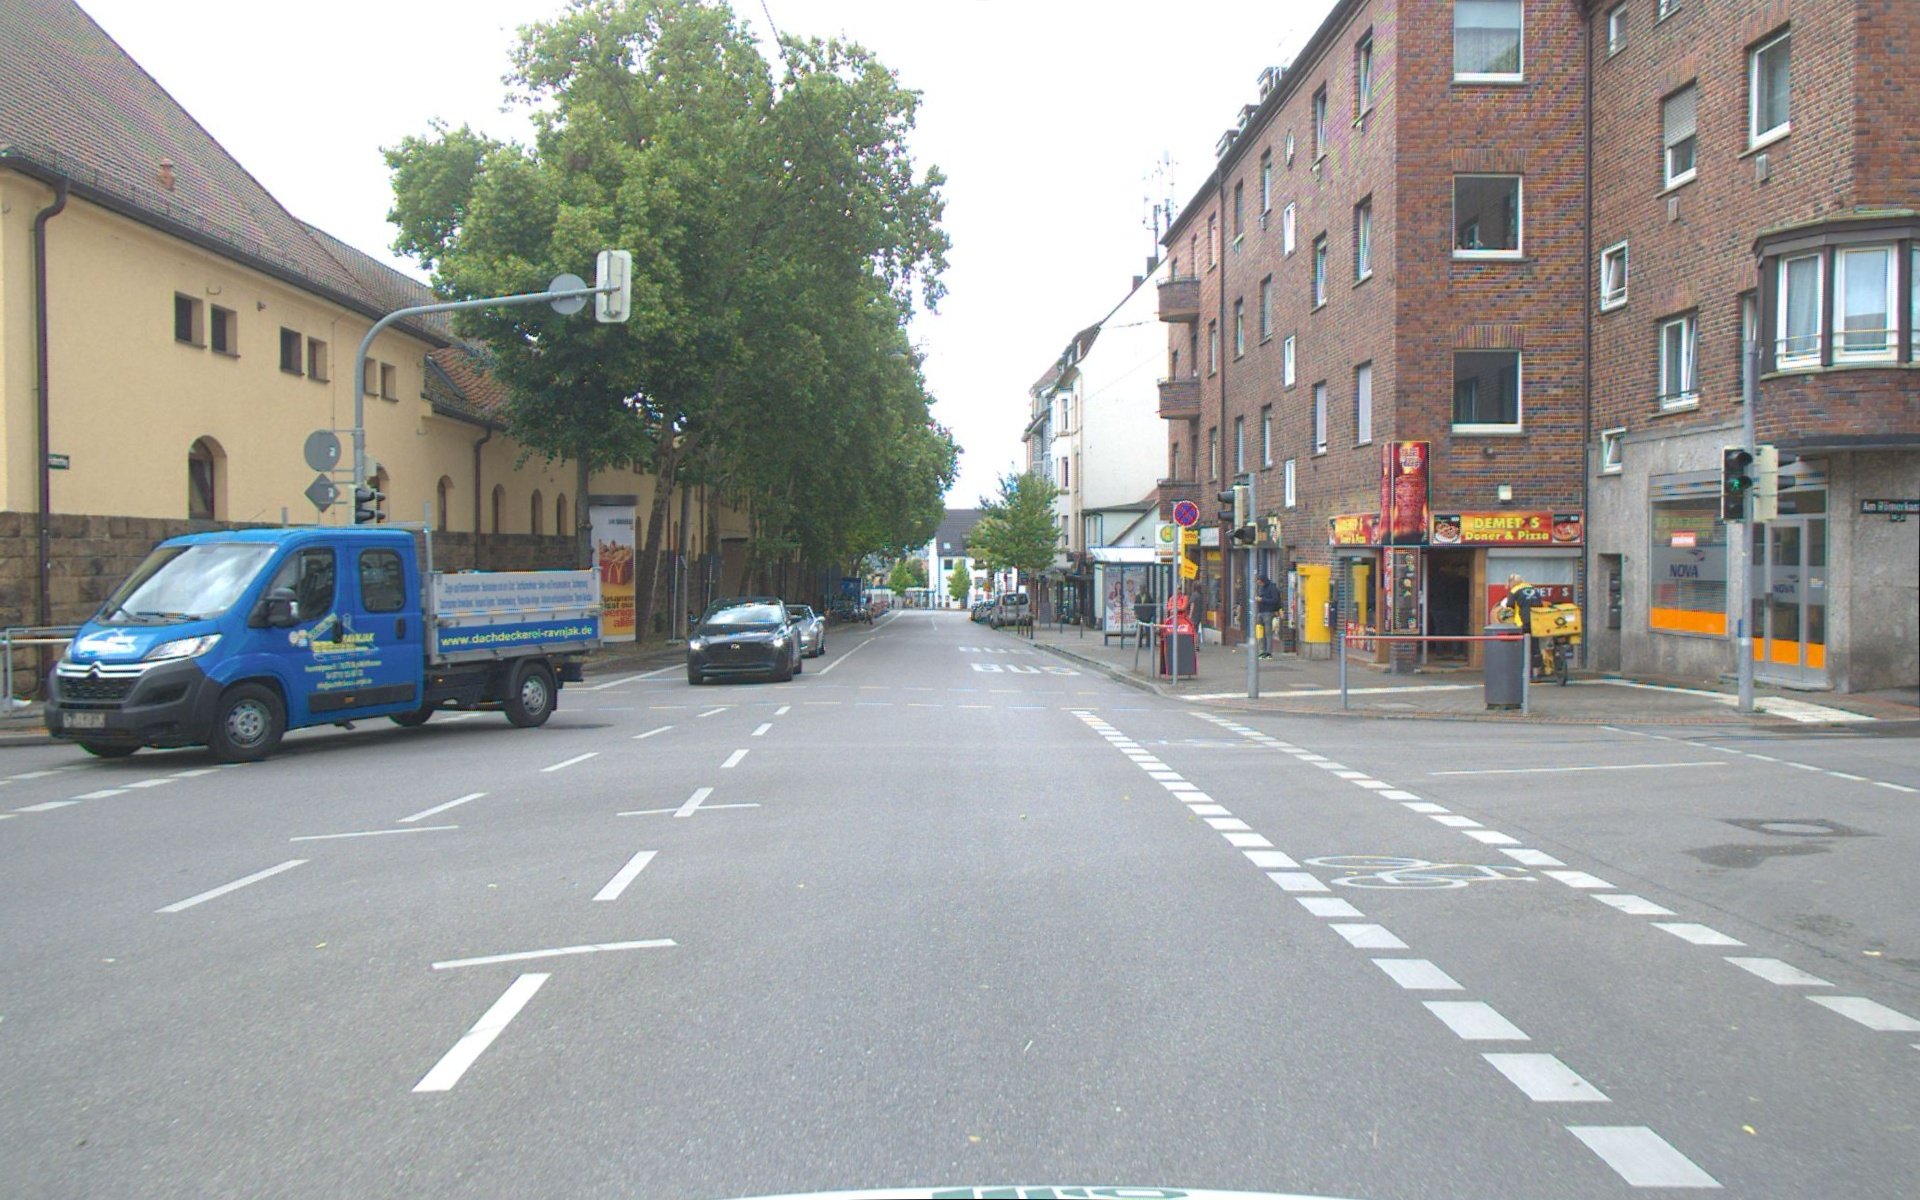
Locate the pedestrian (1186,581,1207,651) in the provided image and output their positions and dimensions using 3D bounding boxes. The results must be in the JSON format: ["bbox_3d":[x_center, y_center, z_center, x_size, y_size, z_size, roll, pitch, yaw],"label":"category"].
[{"bbox_3d":[6.105,0.419,42.655,0.469,1.796,0.458,0,0,-1],"label":"pedestrian"}]

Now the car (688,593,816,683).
[{"bbox_3d":[-3.612,0.620,29.344,1.668,1.439,4.192,-1,0,1],"label":"car"}]

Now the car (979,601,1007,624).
[{"bbox_3d":[2.257,0.833,114.488,1.635,1.574,3.753,0,0,-4],"label":"car"}]

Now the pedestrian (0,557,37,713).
[{"bbox_3d":[-11.426,0.403,19.562,0.552,1.808,0.842,0,0,-2],"label":"pedestrian"}]

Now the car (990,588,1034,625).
[{"bbox_3d":[2.837,0.340,91.058,1.954,1.969,4.915,0,0,-4],"label":"car"}]

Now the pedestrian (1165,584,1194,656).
[{"bbox_3d":[5.130,0.470,38.590,0.553,1.665,0.681,0,0,19],"label":"pedestrian"}]

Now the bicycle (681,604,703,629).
[{"bbox_3d":[-12.340,0.734,76.232,0.584,1.110,2.195,2,0,0],"label":"bicycle"}]

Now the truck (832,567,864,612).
[{"bbox_3d":[-8.558,-0.781,126.739,2.186,3.405,7.446,0,0,-2],"label":"truck"}]

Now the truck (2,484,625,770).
[{"bbox_3d":[-6.442,0.215,17.645,2.249,2.469,6.407,-1,0,25],"label":"truck"}]

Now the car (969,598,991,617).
[{"bbox_3d":[1.734,0.639,144.262,1.635,1.574,3.753,0,0,-4],"label":"car"}]

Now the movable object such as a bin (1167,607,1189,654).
[{"bbox_3d":[5.047,0.703,38.238,0.443,1.075,0.410,0,0,19],"label":"movable object such as a bin"}]

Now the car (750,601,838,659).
[{"bbox_3d":[-4.080,0.737,41.157,1.651,1.298,4.095,-3,-1,1],"label":"car"}]

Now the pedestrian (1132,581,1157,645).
[{"bbox_3d":[5.134,0.361,46.134,0.656,1.758,0.764,0,0,4],"label":"pedestrian"}]

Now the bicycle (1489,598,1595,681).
[{"bbox_3d":[8.846,0.571,25.238,0.744,1.214,2.391,0,0,-1],"label":"bicycle"}]

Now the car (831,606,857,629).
[{"bbox_3d":[-8.203,1.244,117.368,1.798,1.605,3.753,0,0,-4],"label":"car"}]

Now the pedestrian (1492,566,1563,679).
[{"bbox_3d":[8.832,0.344,25.748,0.772,1.685,0.772,-2,0,-1],"label":"pedestrian"}]

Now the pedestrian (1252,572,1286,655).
[{"bbox_3d":[6.658,0.286,35.685,0.633,1.780,0.778,0,0,4],"label":"pedestrian"}]

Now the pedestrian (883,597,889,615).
[{"bbox_3d":[-8.464,0.648,190.057,0.620,2.049,0.784,0,0,0],"label":"pedestrian"}]

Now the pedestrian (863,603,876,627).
[{"bbox_3d":[-5.931,0.956,108.028,0.666,1.563,0.604,0,0,-33],"label":"pedestrian"}]
